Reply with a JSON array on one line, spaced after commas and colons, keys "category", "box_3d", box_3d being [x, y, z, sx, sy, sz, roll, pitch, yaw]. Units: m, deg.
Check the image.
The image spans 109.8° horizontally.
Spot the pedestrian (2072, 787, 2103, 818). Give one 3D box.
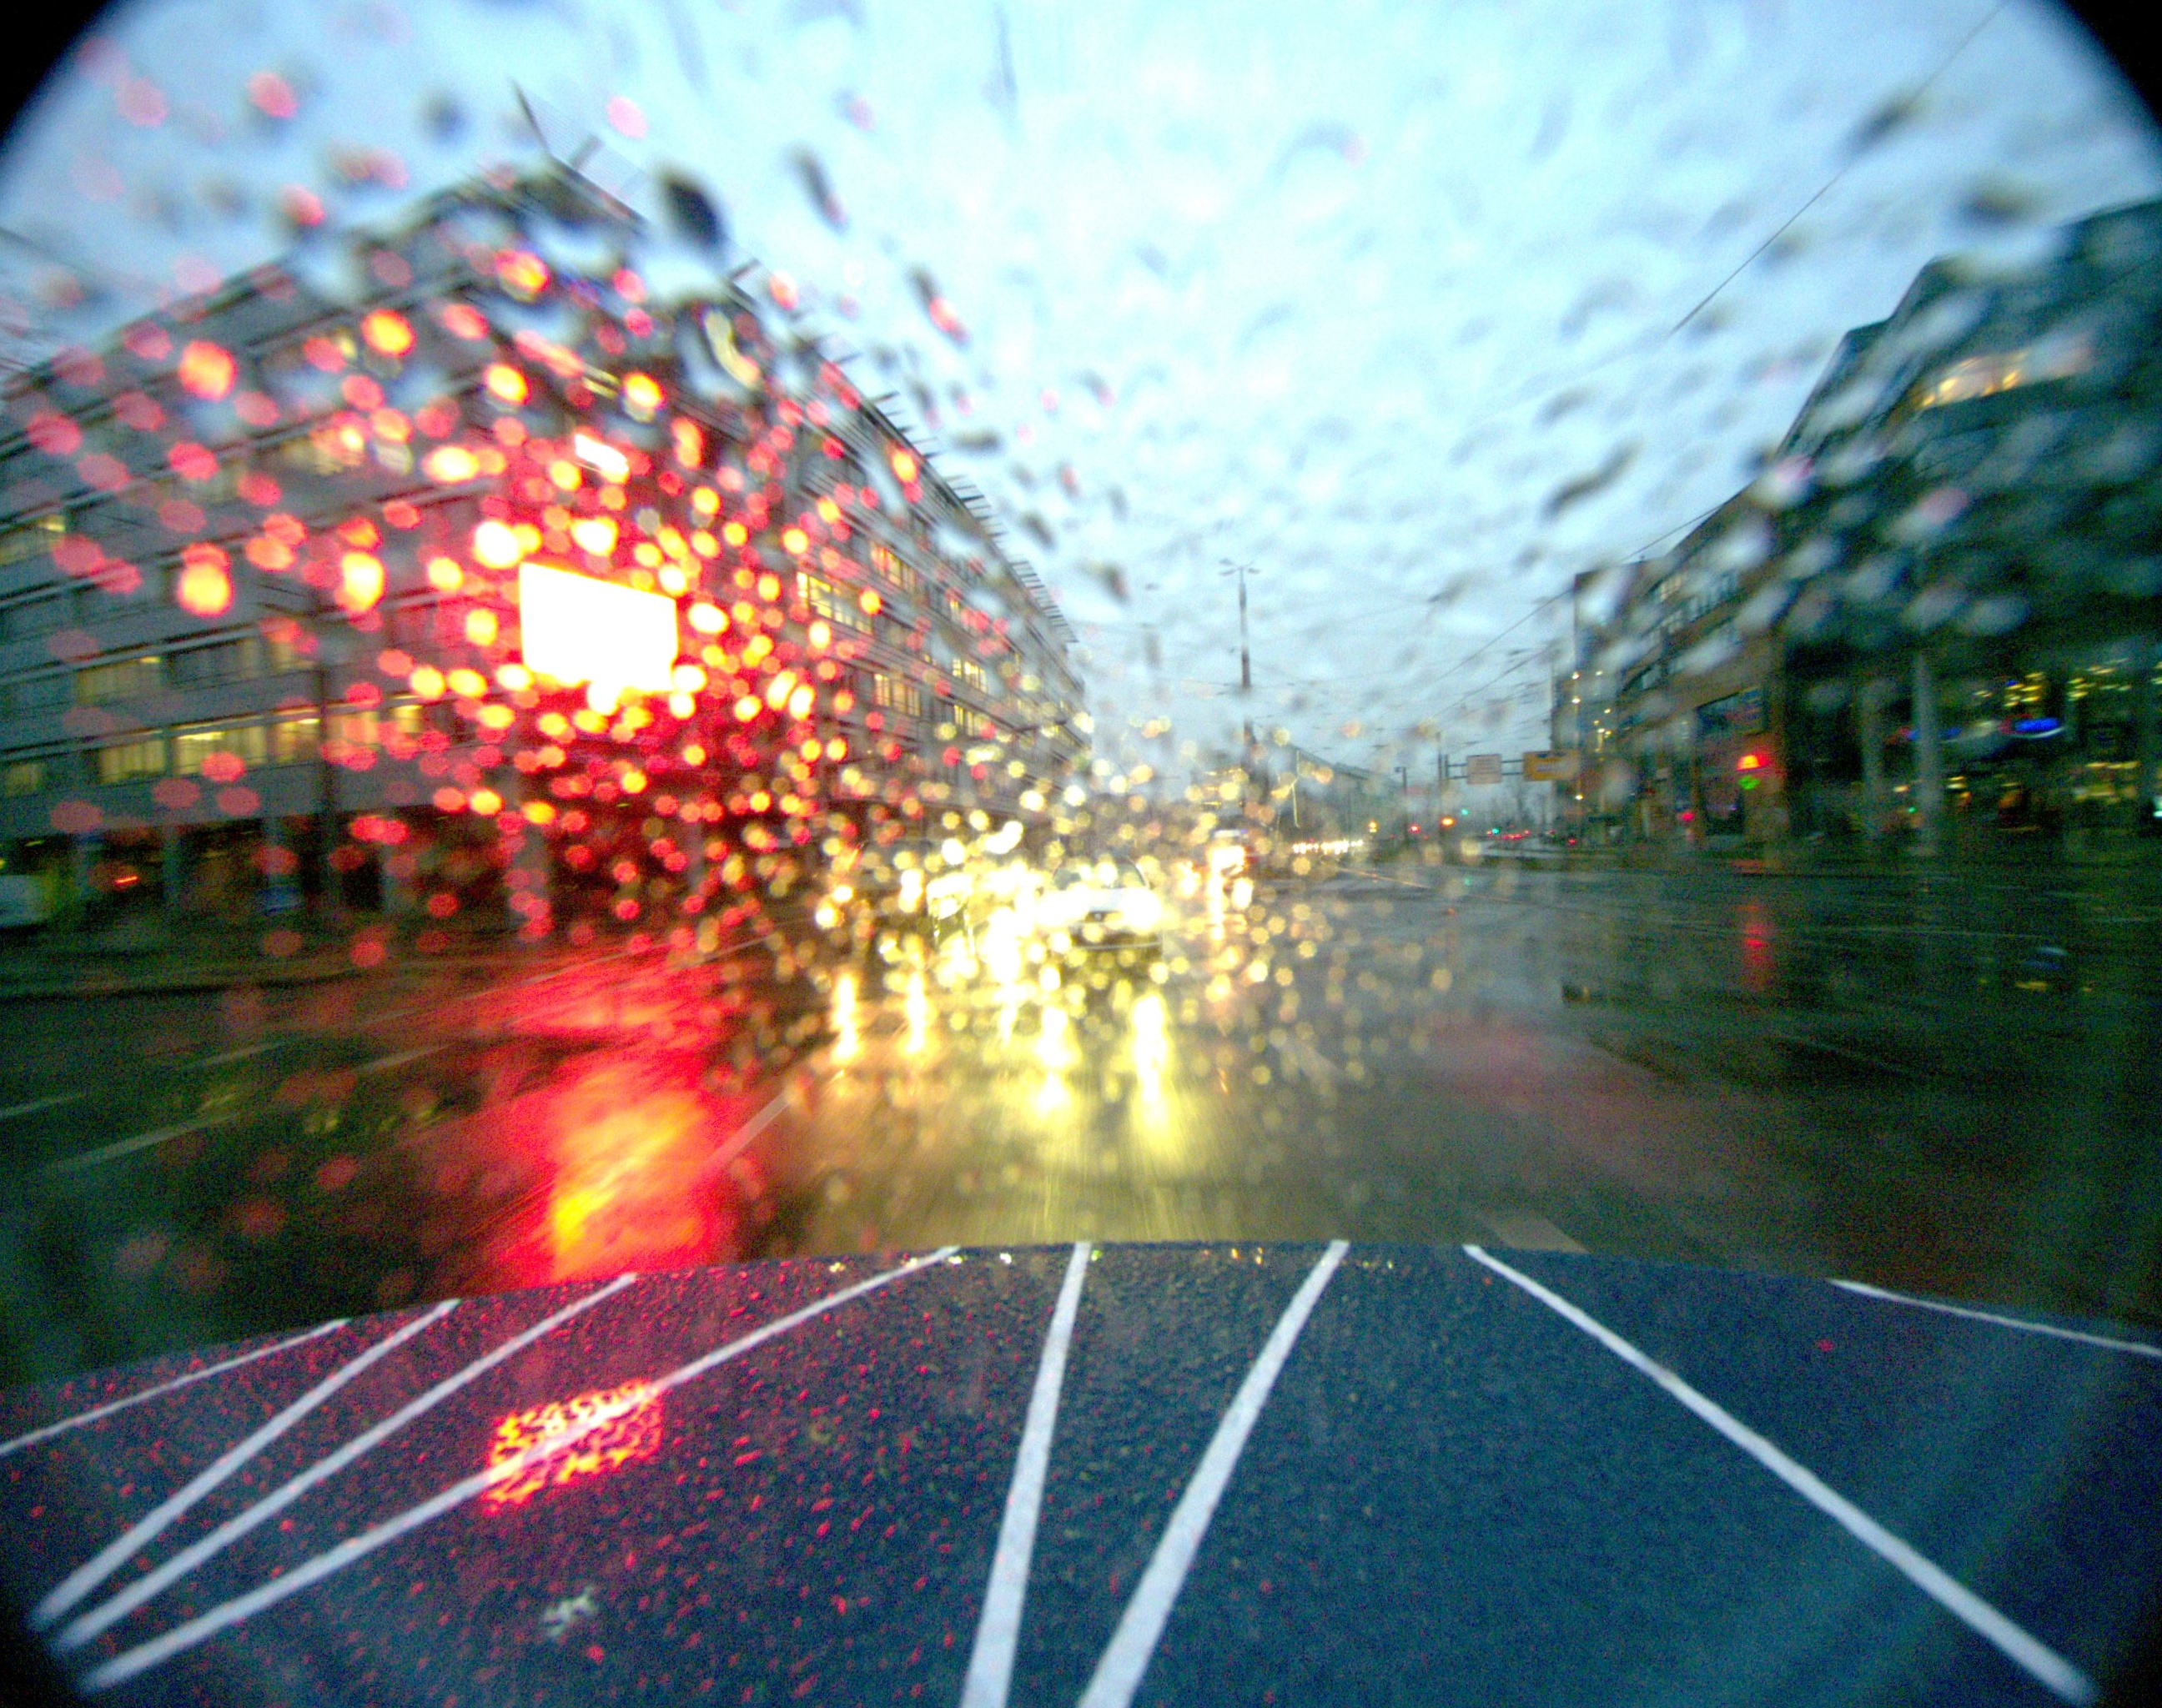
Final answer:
[{"category": "pedestrian", "box_3d": [50.946, -2.610, 38.460, 0.651, 1.494, 0.694, -2, 1, 23]}]

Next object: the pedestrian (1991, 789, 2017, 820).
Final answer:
[{"category": "pedestrian", "box_3d": [52.626, -2.826, 43.317, 0.692, 1.699, 0.928, -2, 1, 34]}]

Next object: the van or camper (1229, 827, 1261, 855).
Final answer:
[{"category": "van or camper", "box_3d": [15.547, -1.237, 71.691, 2.183, 2.339, 5.656, -4, 0, 18]}]

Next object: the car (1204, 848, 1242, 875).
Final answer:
[{"category": "car", "box_3d": [8.377, 0.399, 44.601, 1.823, 1.324, 4.229, -4, 0, 15]}]

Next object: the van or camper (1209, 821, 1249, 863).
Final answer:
[{"category": "van or camper", "box_3d": [10.199, -0.849, 51.943, 2.059, 2.533, 5.890, -4, 1, 15]}]

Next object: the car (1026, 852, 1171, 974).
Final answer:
[{"category": "car", "box_3d": [0.342, 0.761, 11.952, 1.773, 1.449, 4.222, -4, 0, 3]}]

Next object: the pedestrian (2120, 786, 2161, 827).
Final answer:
[{"category": "pedestrian", "box_3d": [49.517, -2.210, 35.510, 0.773, 1.835, 0.924, -2, 1, 24]}]

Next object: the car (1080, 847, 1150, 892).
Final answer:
[{"category": "car", "box_3d": [1.324, 0.511, 27.694, 1.772, 1.449, 4.225, -1, 1, 13]}]

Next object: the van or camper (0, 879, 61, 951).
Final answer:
[{"category": "van or camper", "box_3d": [-31.994, 1.811, 21.237, 4.742, 1.918, 1.842, -3, 1, 5]}]

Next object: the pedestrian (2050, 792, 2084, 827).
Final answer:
[{"category": "pedestrian", "box_3d": [47.508, -2.123, 36.615, 0.740, 1.646, 0.694, -2, 1, 23]}]

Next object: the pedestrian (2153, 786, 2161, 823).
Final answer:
[{"category": "pedestrian", "box_3d": [50.326, -2.318, 35.055, 0.726, 1.699, 0.694, -2, 1, 23]}]

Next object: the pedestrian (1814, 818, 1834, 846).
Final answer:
[{"category": "pedestrian", "box_3d": [35.602, -1.052, 36.398, 0.445, 1.257, 0.496, -4, 1, 10]}]

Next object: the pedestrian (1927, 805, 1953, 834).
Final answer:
[{"category": "pedestrian", "box_3d": [45.826, -1.818, 40.547, 0.651, 1.494, 0.694, -2, 1, 23]}]

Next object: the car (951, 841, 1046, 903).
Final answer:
[{"category": "car", "box_3d": [-2.660, 0.531, 25.734, 1.908, 1.809, 4.691, -4, 0, 9]}]

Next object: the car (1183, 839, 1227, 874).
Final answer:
[{"category": "car", "box_3d": [6.084, 0.079, 37.041, 1.682, 1.564, 3.764, -2, 1, 15]}]

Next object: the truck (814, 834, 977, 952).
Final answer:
[{"category": "truck", "box_3d": [-3.534, 0.673, 15.497, 1.909, 1.906, 4.617, -4, 0, 2]}]
